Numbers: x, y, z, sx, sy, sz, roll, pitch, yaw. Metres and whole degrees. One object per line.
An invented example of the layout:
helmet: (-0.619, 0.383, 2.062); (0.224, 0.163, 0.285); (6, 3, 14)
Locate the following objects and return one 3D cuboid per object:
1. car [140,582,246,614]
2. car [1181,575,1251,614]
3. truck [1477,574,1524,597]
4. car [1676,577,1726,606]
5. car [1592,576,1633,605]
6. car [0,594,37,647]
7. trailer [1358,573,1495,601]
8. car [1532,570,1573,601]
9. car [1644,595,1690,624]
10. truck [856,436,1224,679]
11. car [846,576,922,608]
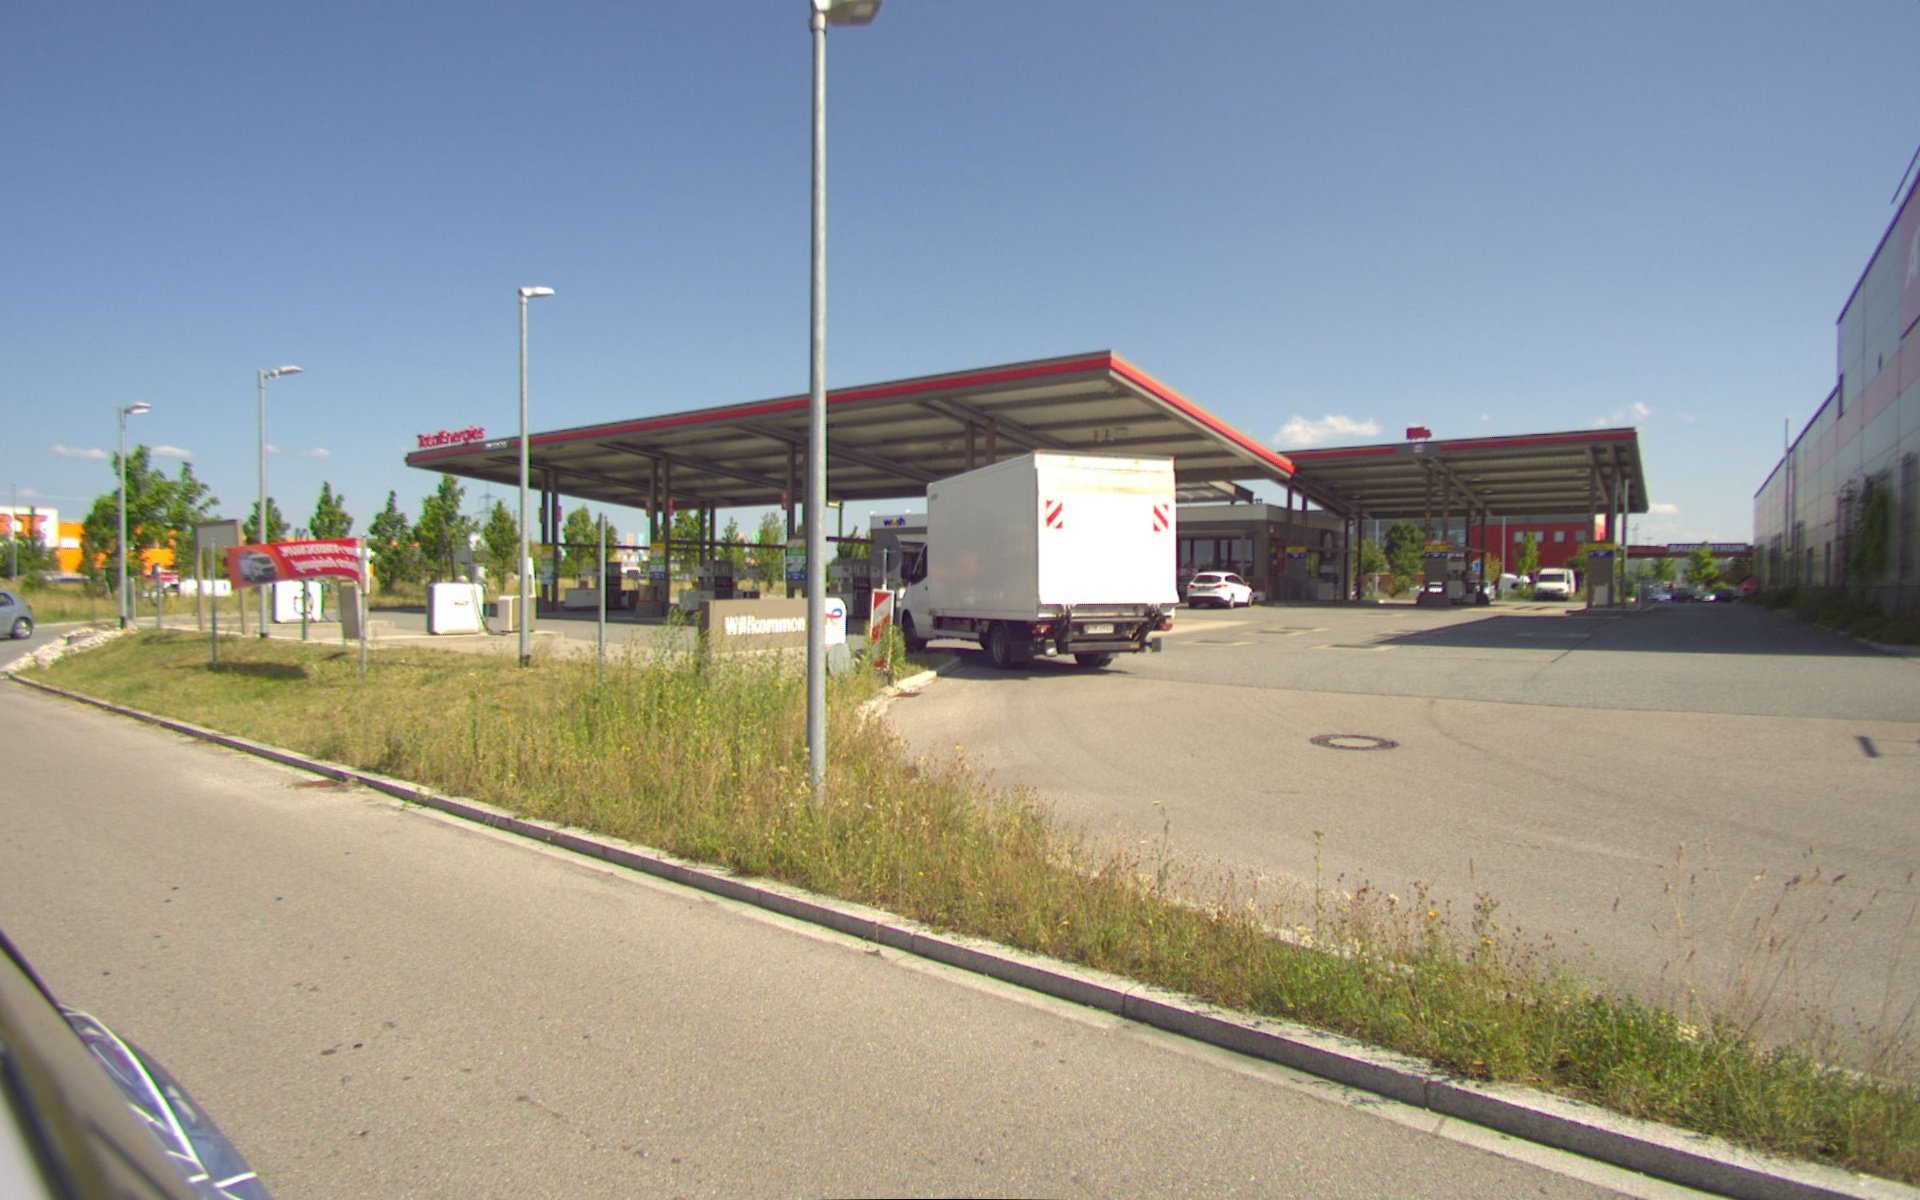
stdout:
car: (-50.592, -0.153, 66.881); (1.994, 2.029, 5.196); (-1, 0, 33)
car: (10.585, -0.243, 41.691); (1.789, 1.541, 3.959); (-1, 0, 30)
truck: (55.539, -1.473, 104.001); (4.234, 2.204, 2.363); (-1, 0, 30)
car: (57.652, -0.677, 78.810); (2.377, 2.204, 5.428); (-1, 0, 29)
car: (52.992, -0.770, 82.334); (2.377, 2.204, 5.428); (-1, 0, 29)
car: (-27.951, 0.535, 27.732); (1.723, 1.479, 3.960); (1, -2, -1)
trailer: (49.473, -1.336, 107.705); (13.131, 2.780, 2.363); (-1, 0, 30)
car: (43.223, -1.055, 73.902); (2.377, 2.204, 5.428); (-1, 0, 29)
car: (56.135, 0.708, 80.413); (2.377, 2.204, 5.428); (-1, 0, 29)
truck: (0.995, -0.595, 17.524); (2.597, 3.343, 6.924); (-1, 0, -34)
car: (-3.861, -0.422, 51.973); (1.792, 1.586, 3.889); (-1, 0, 36)
